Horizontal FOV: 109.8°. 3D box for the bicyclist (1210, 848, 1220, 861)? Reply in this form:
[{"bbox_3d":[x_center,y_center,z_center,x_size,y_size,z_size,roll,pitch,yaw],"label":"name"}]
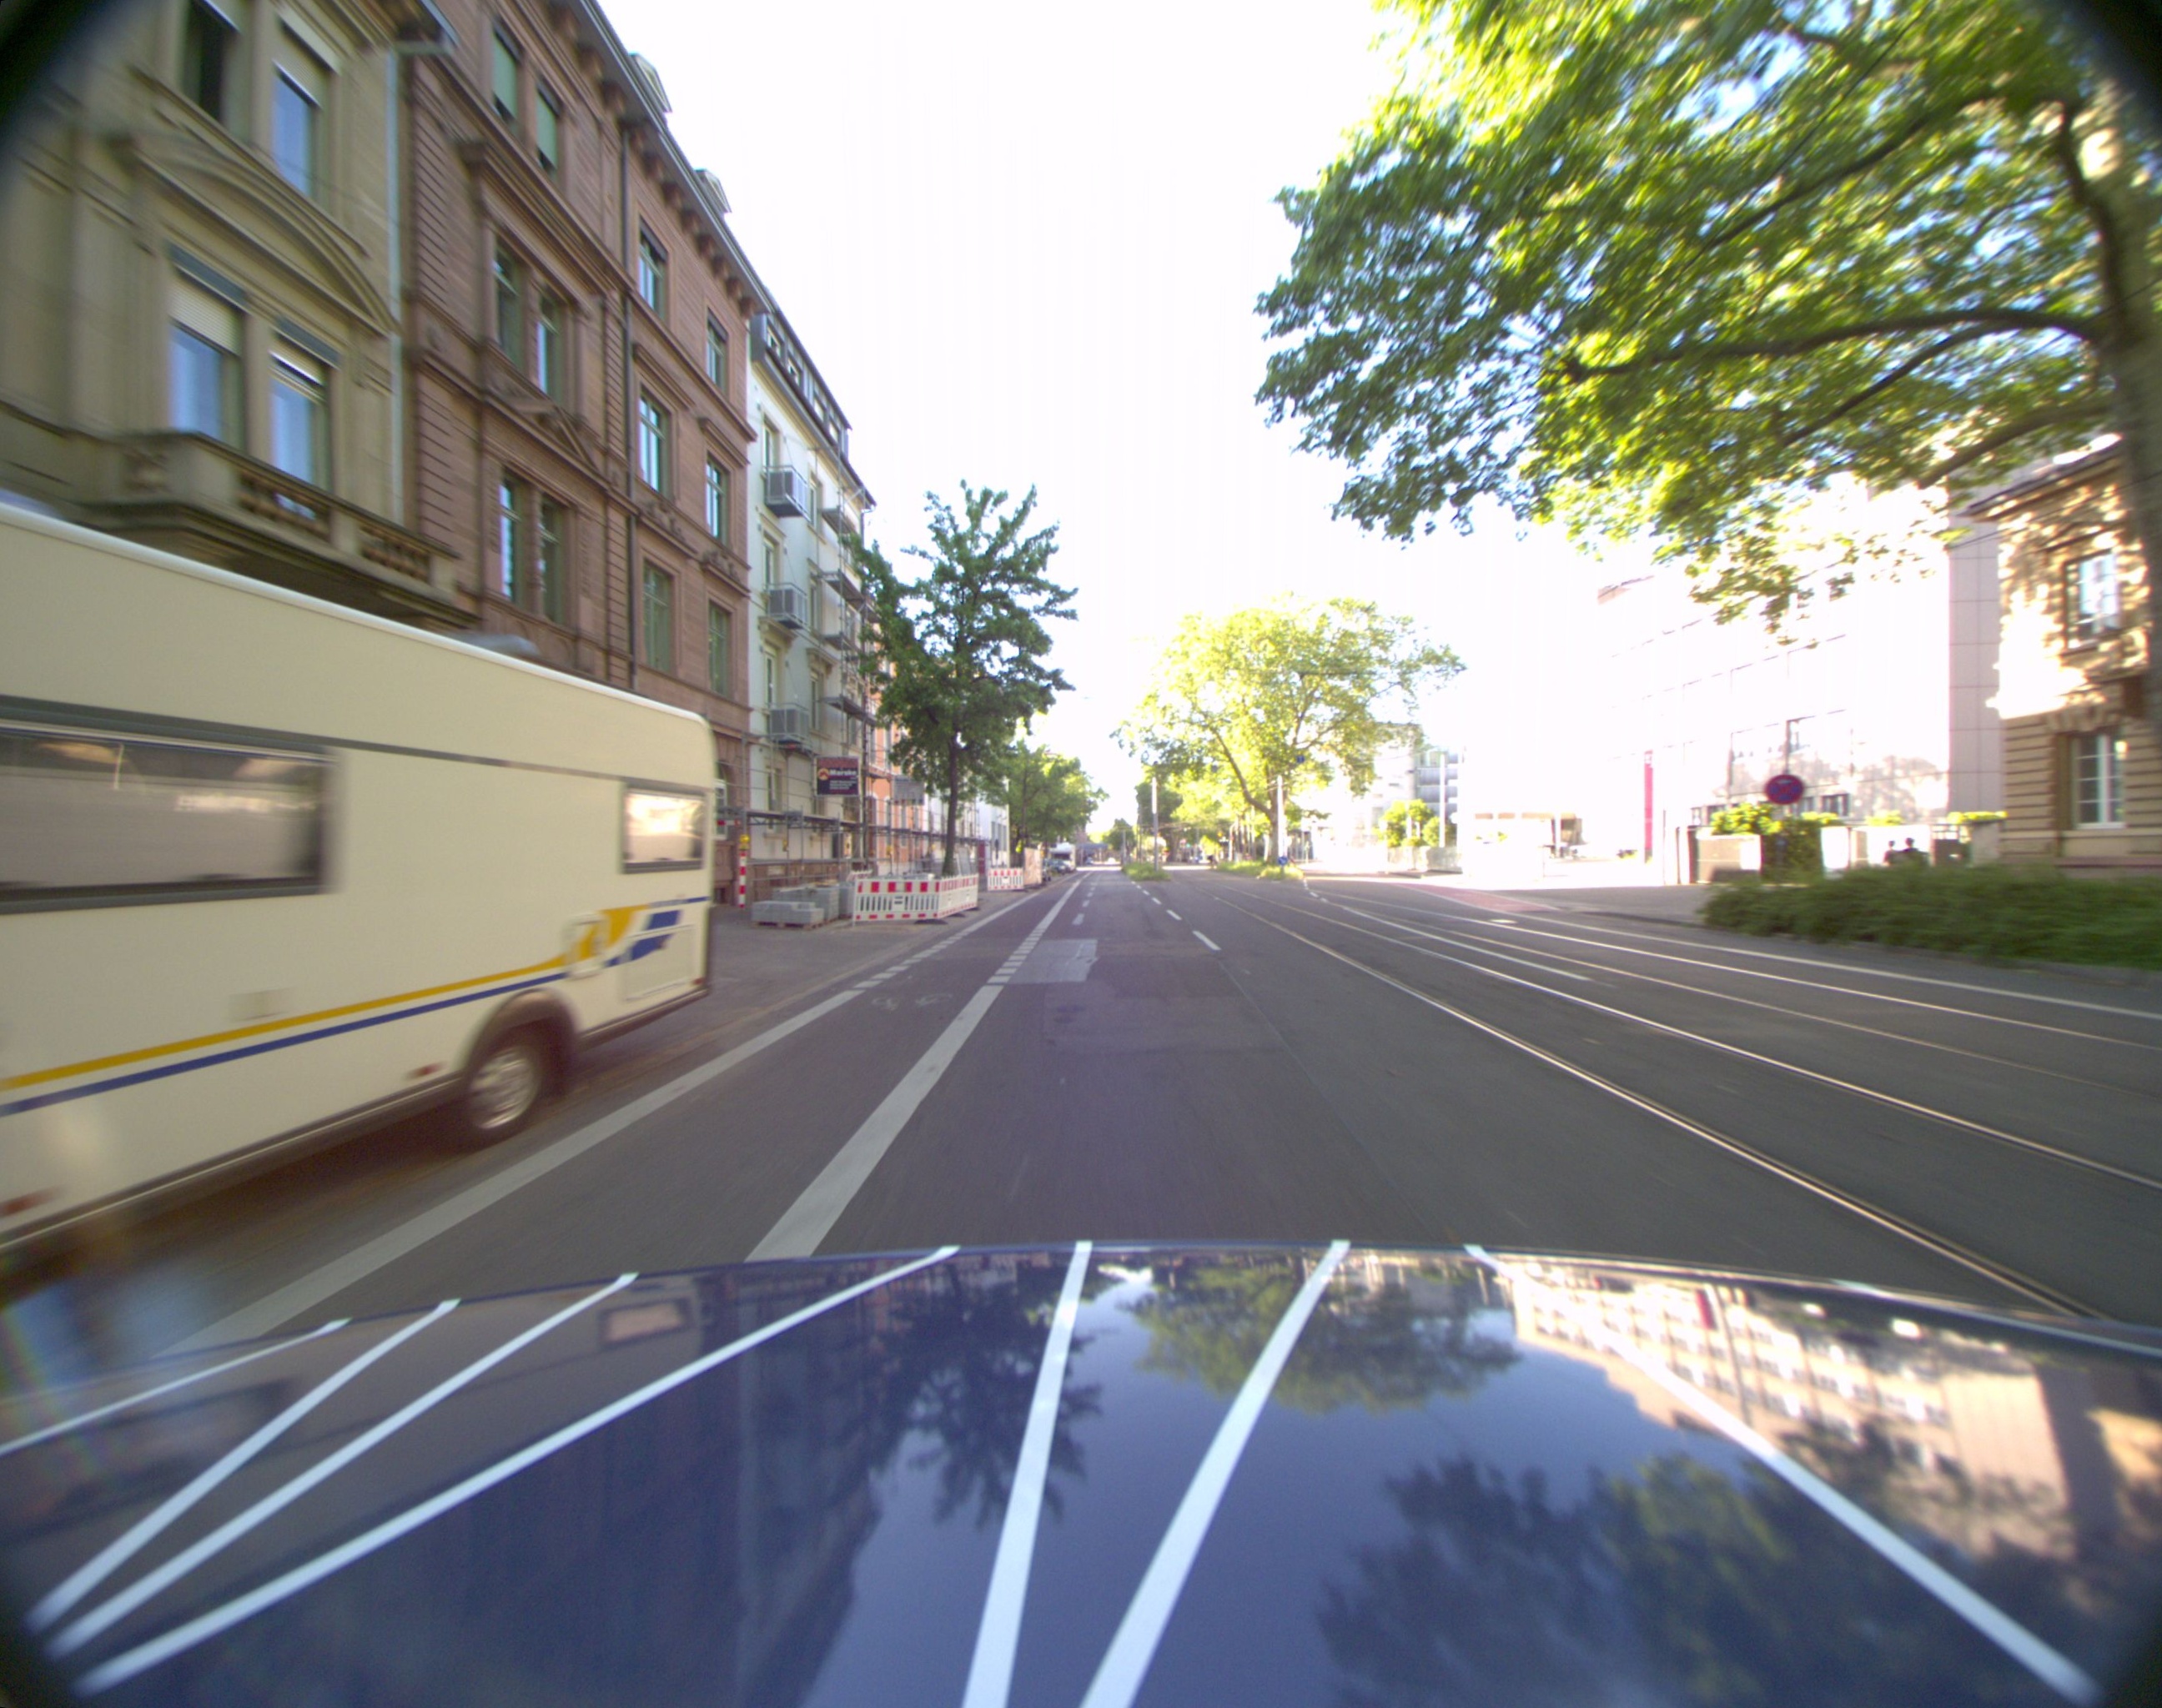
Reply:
[{"bbox_3d":[15.677,0.044,88.893,1.007,1.567,0.760,-1,1,6],"label":"bicyclist"}]

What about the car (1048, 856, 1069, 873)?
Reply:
[{"bbox_3d":[-1.939,0.878,66.848,1.656,1.439,3.801,1,0,1],"label":"car"}]

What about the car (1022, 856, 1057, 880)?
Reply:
[{"bbox_3d":[-2.691,0.902,50.103,1.767,1.475,4.111,1,0,5],"label":"car"}]

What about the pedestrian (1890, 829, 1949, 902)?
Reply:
[{"bbox_3d":[19.863,0.272,18.007,0.673,1.687,0.661,-1,1,-4],"label":"pedestrian"}]

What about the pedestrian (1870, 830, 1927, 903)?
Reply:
[{"bbox_3d":[19.189,0.288,17.852,0.636,1.687,0.656,-1,1,-4],"label":"pedestrian"}]

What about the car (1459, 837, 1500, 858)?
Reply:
[{"bbox_3d":[36.542,-0.602,69.759,1.852,1.807,4.000,-1,1,3],"label":"car"}]

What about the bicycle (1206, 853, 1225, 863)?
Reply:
[{"bbox_3d":[15.757,0.474,88.887,2.081,1.122,0.760,-1,1,6],"label":"bicycle"}]

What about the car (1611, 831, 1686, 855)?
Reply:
[{"bbox_3d":[43.639,-0.849,58.480,4.277,1.709,1.854,-1,1,3],"label":"car"}]

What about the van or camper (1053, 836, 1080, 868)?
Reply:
[{"bbox_3d":[-1.416,-0.192,77.289,2.172,3.074,7.291,1,0,3],"label":"van or camper"}]

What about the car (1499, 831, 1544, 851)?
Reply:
[{"bbox_3d":[39.795,-1.160,68.732,1.852,1.742,4.000,-1,1,3],"label":"car"}]

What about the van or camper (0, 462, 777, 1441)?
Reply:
[{"bbox_3d":[-4.417,0.257,3.257,2.483,2.955,7.885,3,1,4],"label":"van or camper"}]
